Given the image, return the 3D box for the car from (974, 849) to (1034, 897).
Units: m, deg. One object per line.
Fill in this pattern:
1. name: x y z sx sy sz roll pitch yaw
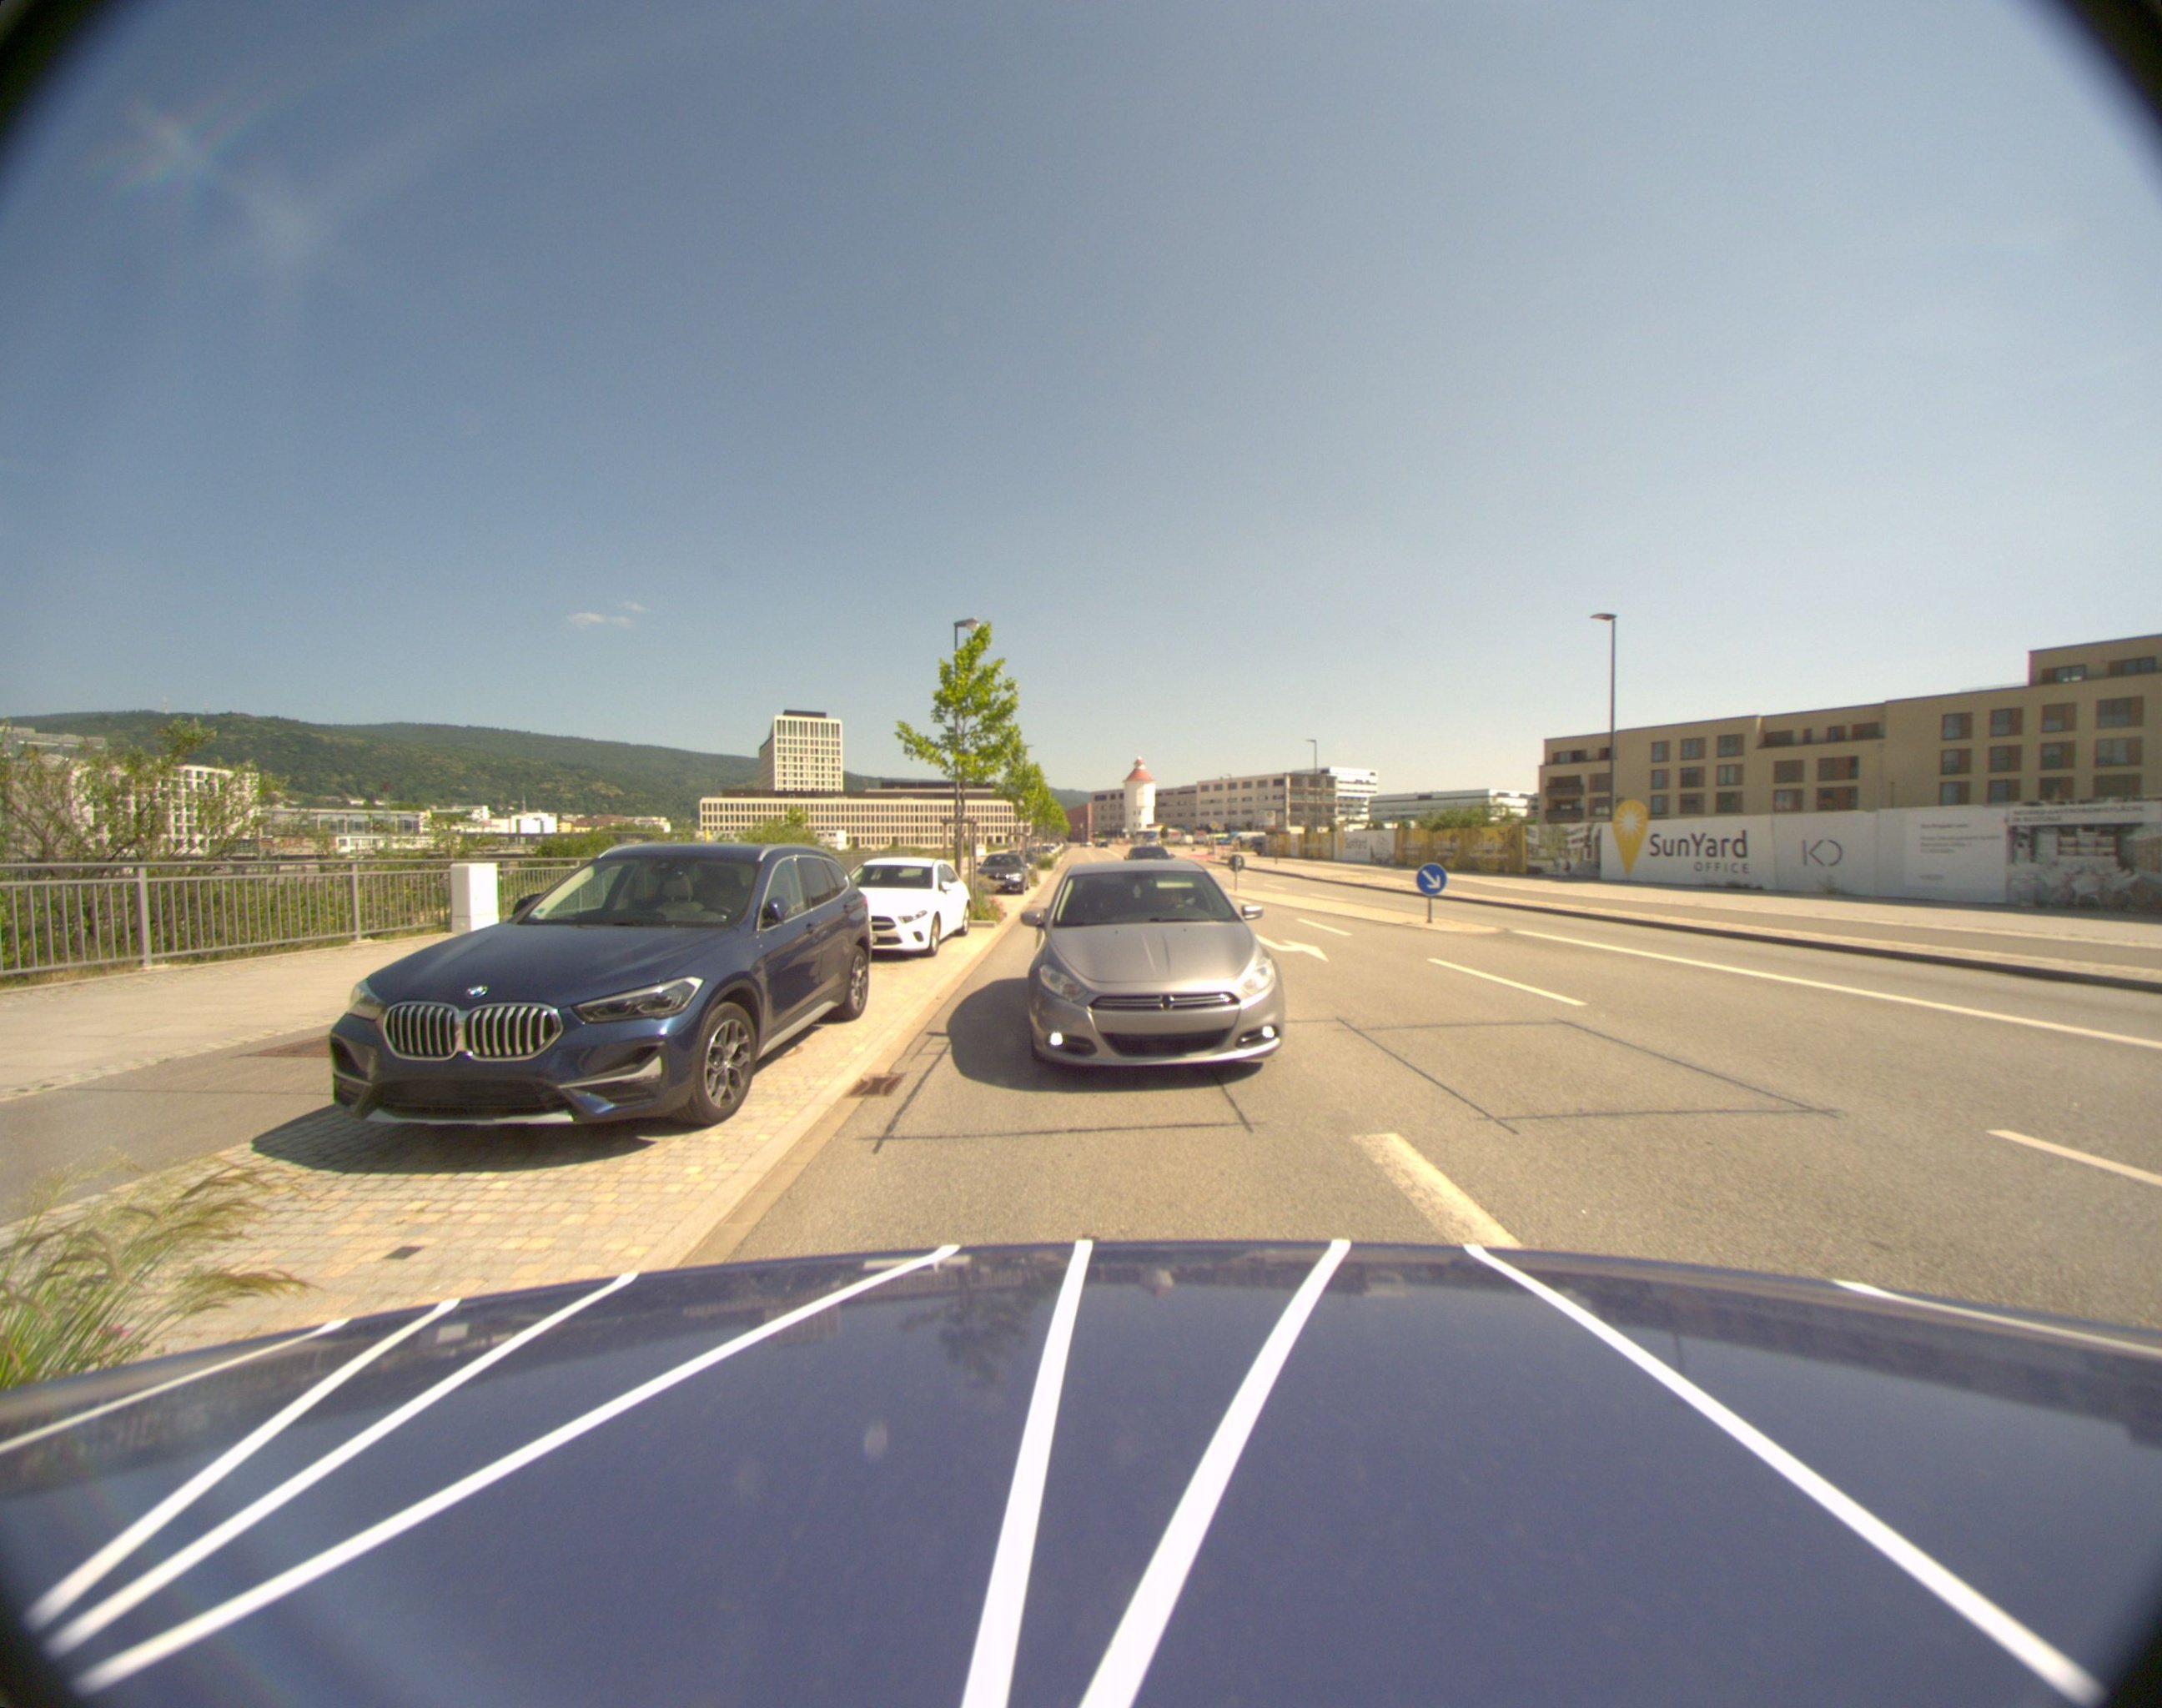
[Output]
1. car: -2.760 0.641 27.977 1.664 1.529 3.999 -2 1 1

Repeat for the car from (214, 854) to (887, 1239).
1. car: -2.889 0.862 5.487 1.769 1.598 4.238 -2 1 1

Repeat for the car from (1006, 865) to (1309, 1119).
1. car: 0.490 0.869 6.666 1.784 1.372 4.135 -2 1 1

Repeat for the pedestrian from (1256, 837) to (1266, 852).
1. pedestrian: 18.396 -0.960 77.618 0.705 1.577 0.617 -3 1 -36

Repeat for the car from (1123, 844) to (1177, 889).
1. car: 2.730 0.441 30.982 1.806 1.632 4.365 -2 1 1

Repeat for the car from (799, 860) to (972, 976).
1. car: -2.942 0.886 12.306 1.664 1.447 3.999 -2 1 1
